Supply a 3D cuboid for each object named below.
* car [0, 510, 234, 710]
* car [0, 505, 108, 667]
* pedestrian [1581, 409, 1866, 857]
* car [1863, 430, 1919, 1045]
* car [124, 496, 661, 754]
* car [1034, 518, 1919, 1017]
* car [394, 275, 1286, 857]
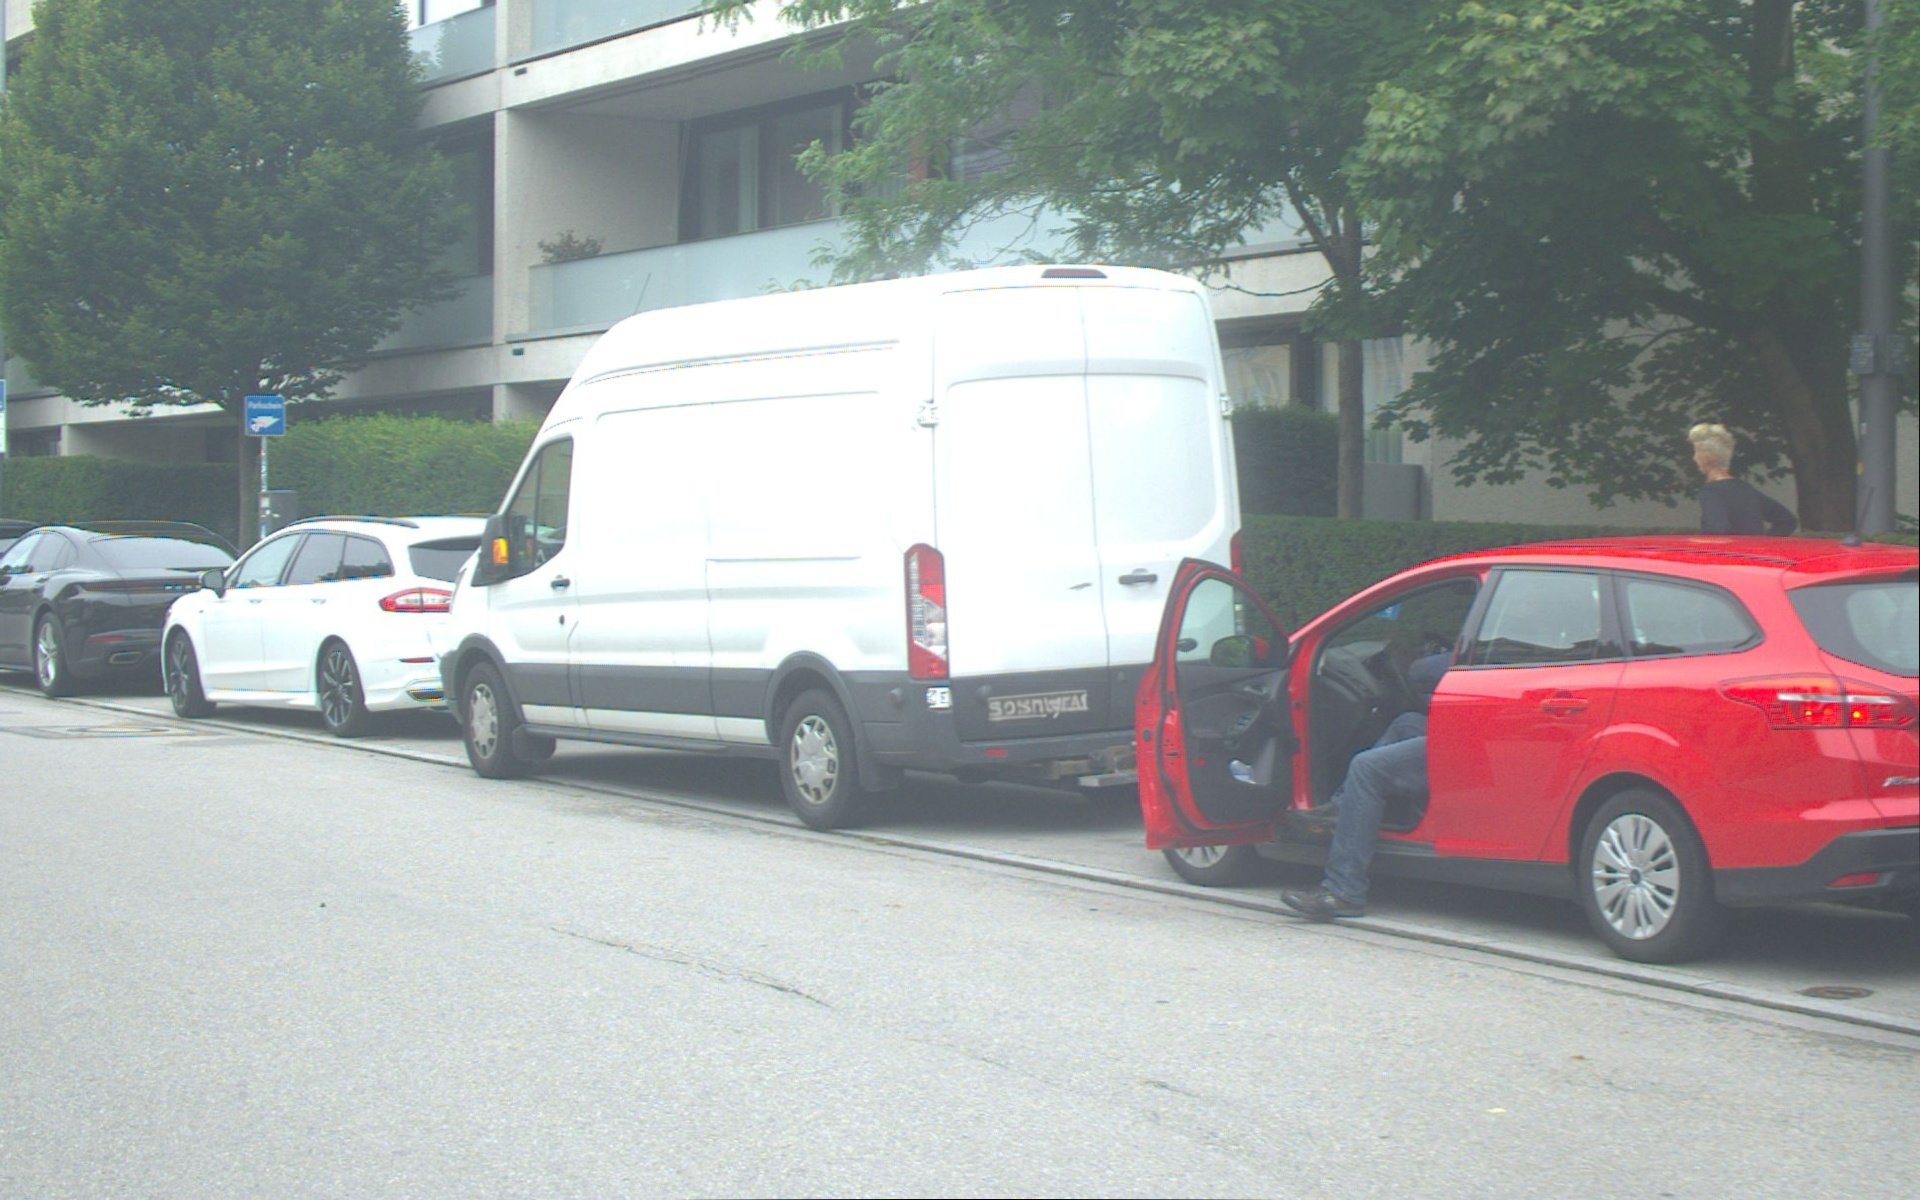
[{"bbox_3d":[-7.813,0.013,29.850,1.281,1.501,5.208,-2,3,-31],"label":"car"},{"bbox_3d":[-10.131,-0.182,34.812,1.727,1.523,4.205,-2,3,-31],"label":"car"},{"bbox_3d":[3.337,0.136,15.079,0.795,1.897,0.865,1,1,-24],"label":"pedestrian"},{"bbox_3d":[4.939,0.467,9.077,1.935,1.898,5.072,-2,3,-30],"label":"car"},{"bbox_3d":[-4.210,0.086,24.773,1.871,1.564,5.001,-3,4,-34],"label":"car"},{"bbox_3d":[2.422,0.484,13.674,1.871,1.501,4.838,-3,3,-32],"label":"car"},{"bbox_3d":[-0.914,-0.290,18.914,2.080,2.677,6.088,-2,3,-32],"label":"car"}]
